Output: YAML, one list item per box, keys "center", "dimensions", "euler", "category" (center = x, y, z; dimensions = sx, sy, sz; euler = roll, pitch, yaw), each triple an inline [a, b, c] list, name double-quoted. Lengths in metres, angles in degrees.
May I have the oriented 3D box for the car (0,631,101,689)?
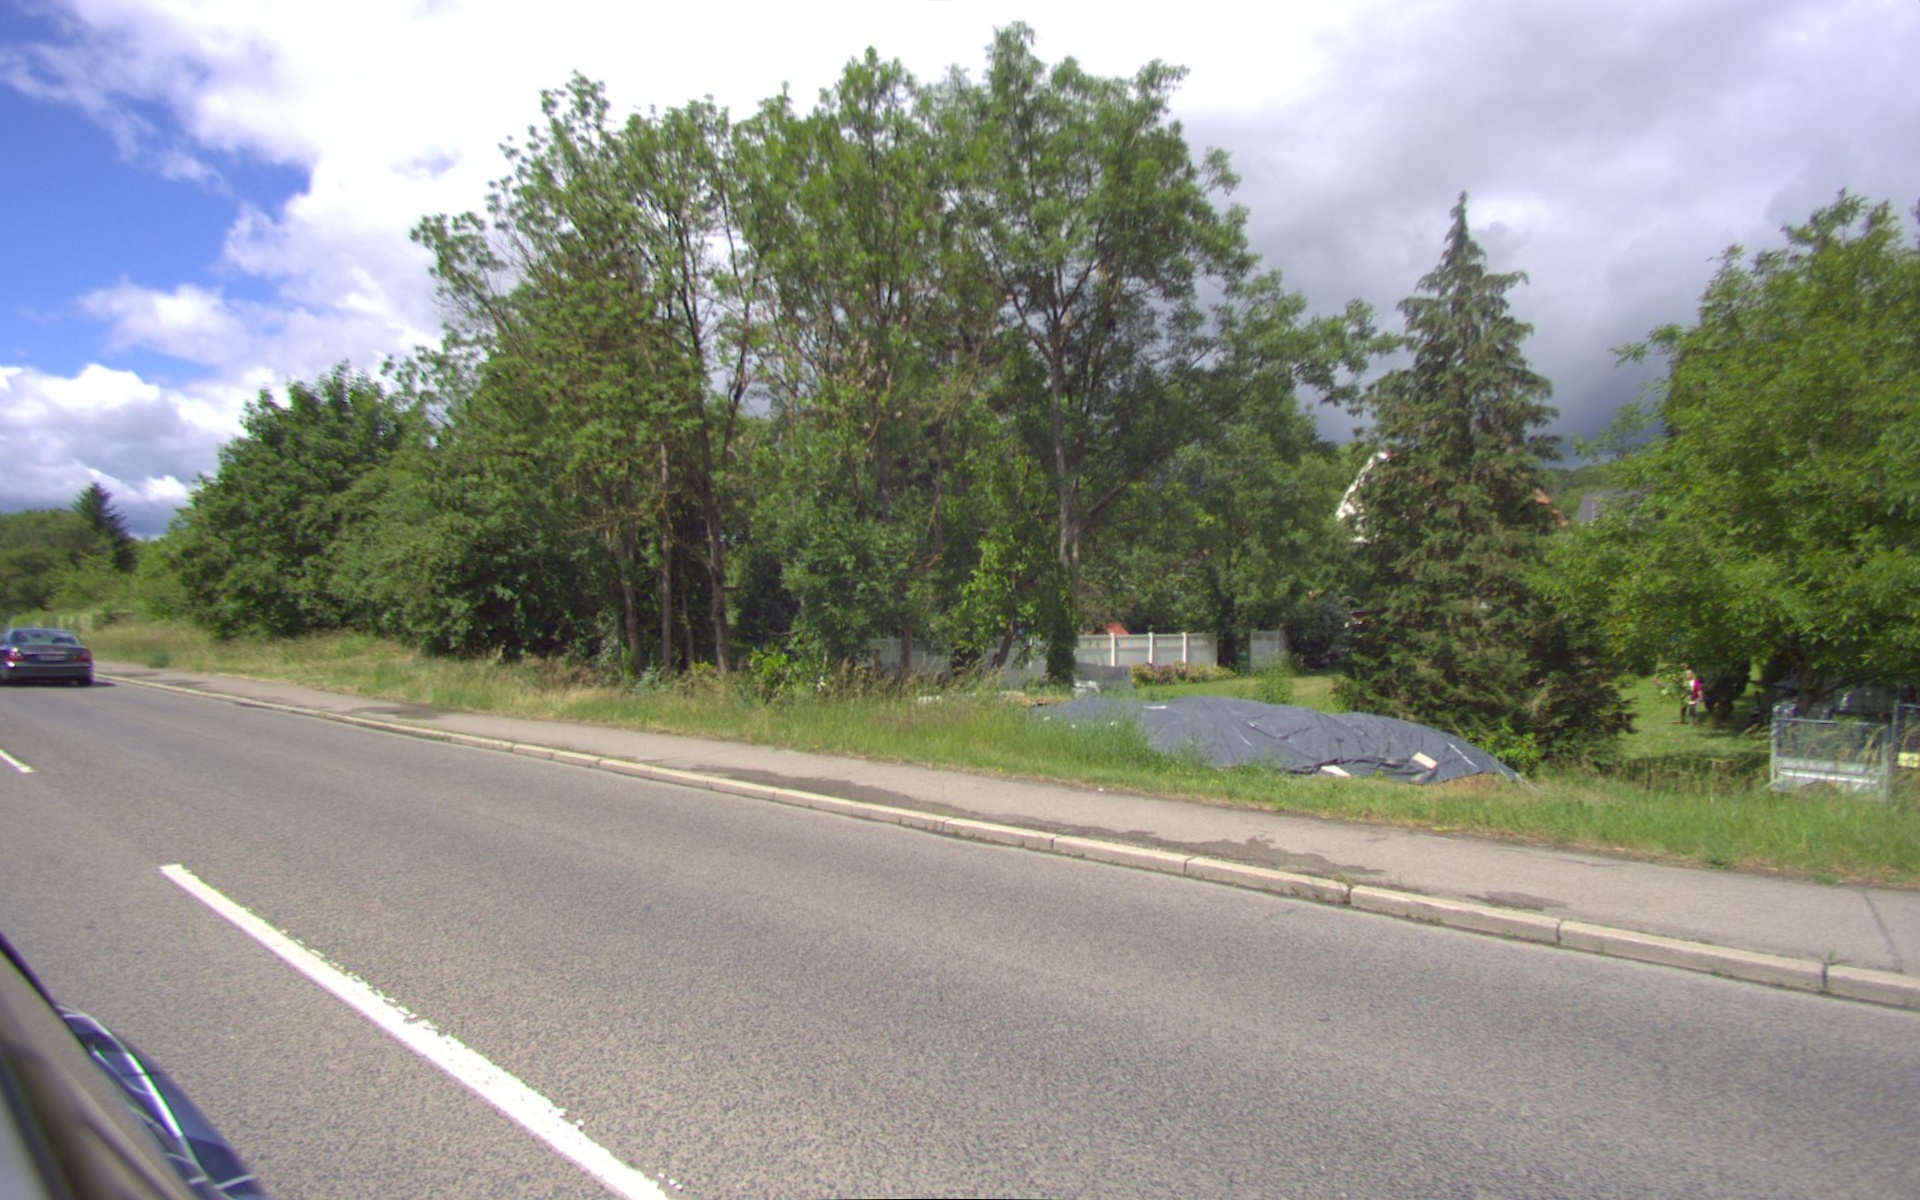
- center: [-23.322, 1.486, 25.498]
  dimensions: [4.618, 1.344, 1.766]
  euler: [-2, -4, 40]
  category: "car"

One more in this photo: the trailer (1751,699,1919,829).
- center: [13.893, 2.397, 15.518]
  dimensions: [3.937, 1.567, 2.003]
  euler: [3, -4, -40]
  category: "trailer"
